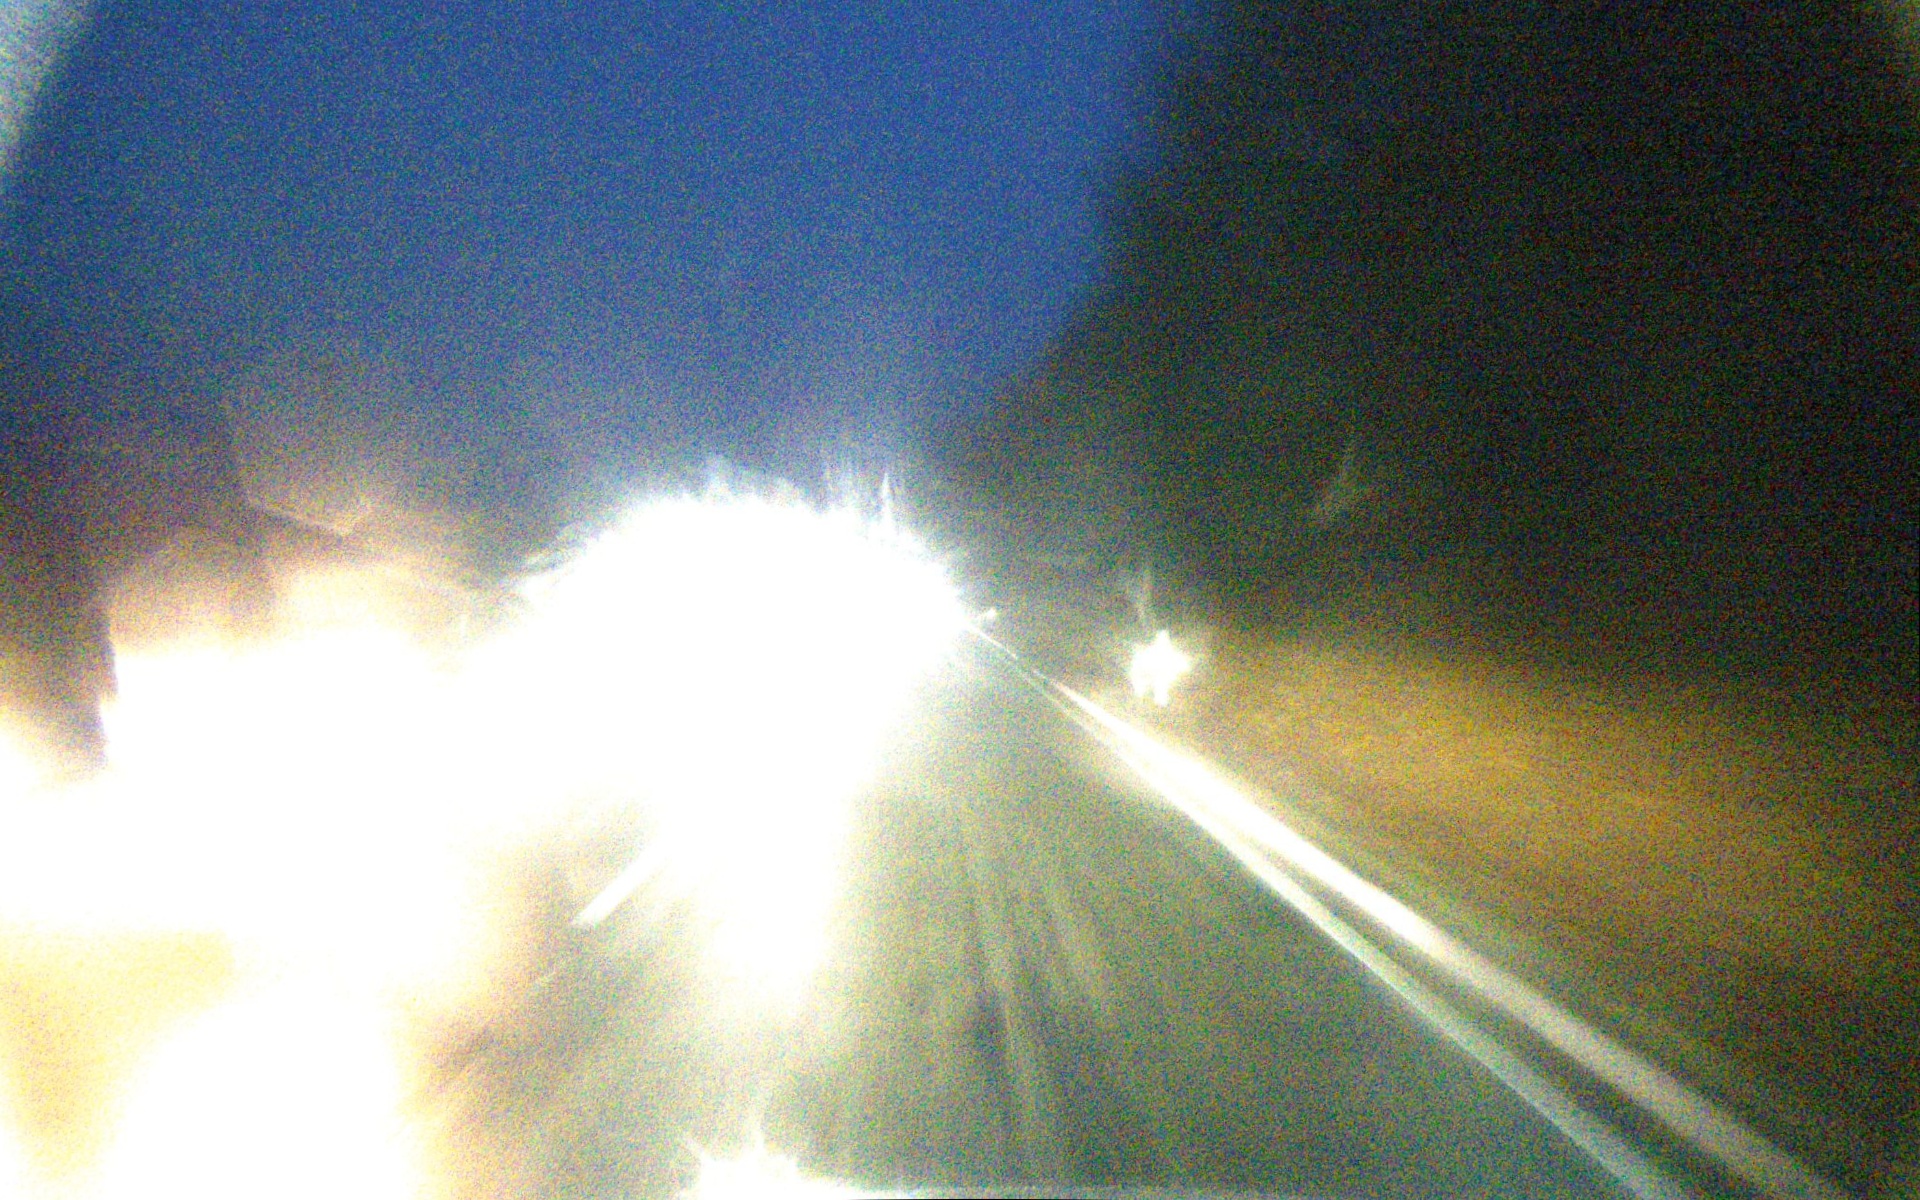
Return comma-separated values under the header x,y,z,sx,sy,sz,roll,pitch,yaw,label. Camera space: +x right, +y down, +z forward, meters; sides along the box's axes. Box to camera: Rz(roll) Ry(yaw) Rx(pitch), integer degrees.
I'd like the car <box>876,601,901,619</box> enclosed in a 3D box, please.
x,y,z,sx,sy,sz,roll,pitch,yaw,label
-6.096,0.863,141.145,1.953,1.473,4.428,1,0,-1,car

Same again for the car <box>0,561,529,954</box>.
x,y,z,sx,sy,sz,roll,pitch,yaw,label
-3.654,0.618,8.552,1.806,1.506,4.247,1,0,-2,car

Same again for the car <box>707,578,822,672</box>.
x,y,z,sx,sy,sz,roll,pitch,yaw,label
-4.072,0.507,35.154,1.953,1.824,4.245,1,0,-1,car
